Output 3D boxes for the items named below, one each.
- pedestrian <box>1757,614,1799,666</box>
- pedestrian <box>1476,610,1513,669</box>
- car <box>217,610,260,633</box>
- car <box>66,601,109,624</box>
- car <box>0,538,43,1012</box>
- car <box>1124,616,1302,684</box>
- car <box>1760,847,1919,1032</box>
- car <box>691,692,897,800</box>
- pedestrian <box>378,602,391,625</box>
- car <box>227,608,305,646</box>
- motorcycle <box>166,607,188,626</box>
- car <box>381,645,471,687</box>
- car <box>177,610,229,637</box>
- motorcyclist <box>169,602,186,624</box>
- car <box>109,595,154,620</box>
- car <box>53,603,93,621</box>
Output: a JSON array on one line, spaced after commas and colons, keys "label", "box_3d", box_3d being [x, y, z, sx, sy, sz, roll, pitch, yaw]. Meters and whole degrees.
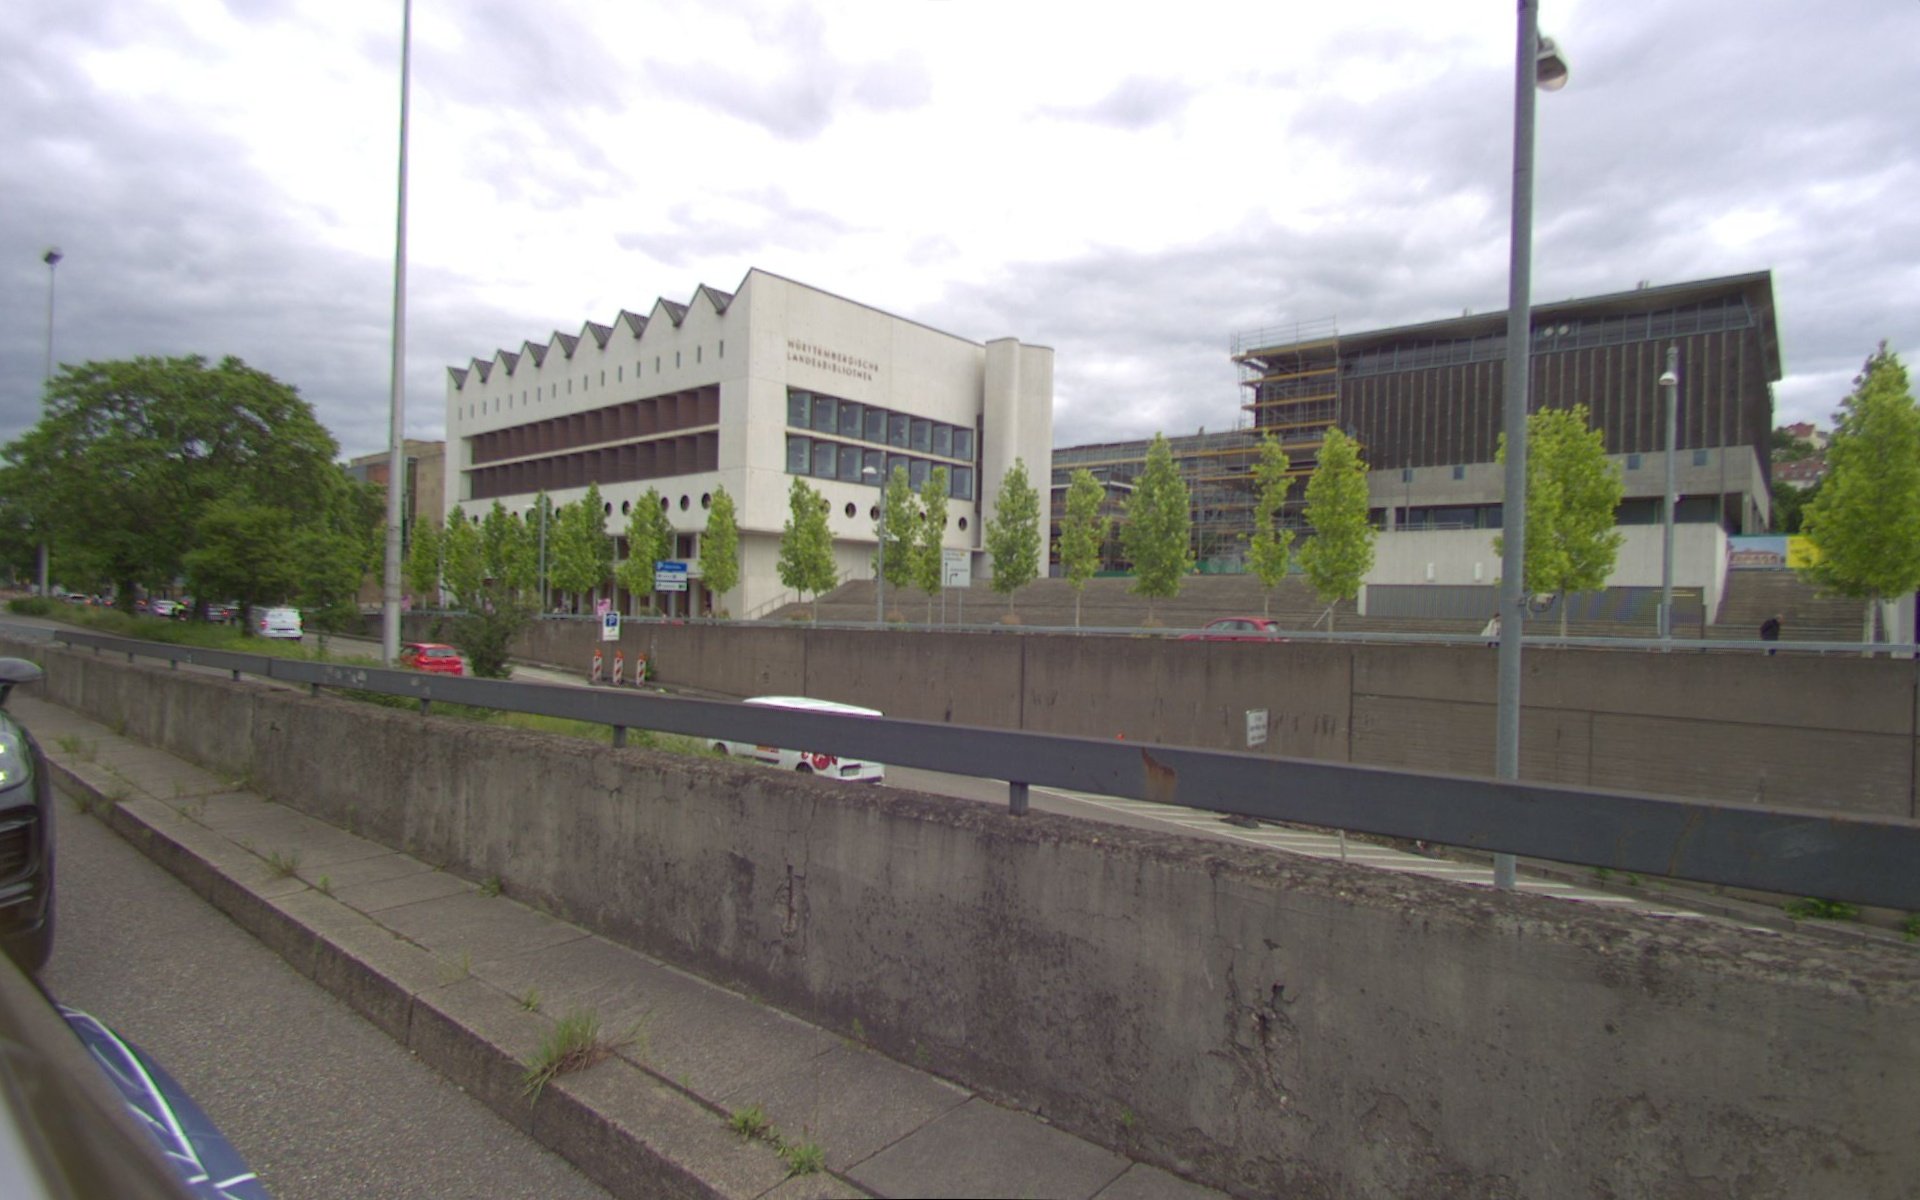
[{"label": "pedestrian", "box_3d": [26.420, 1.278, 32.694, 0.728, 1.655, 0.795, 1, -3, -30]}, {"label": "pedestrian", "box_3d": [18.733, 1.389, 35.481, 0.728, 2.029, 0.795, 0, -2, -17]}, {"label": "car", "box_3d": [-59.776, 1.779, 83.805, 3.998, 1.776, 1.973, 0, -3, 41]}, {"label": "car", "box_3d": [-71.537, 1.003, 82.960, 4.515, 1.687, 1.973, 0, -4, 41]}, {"label": "car", "box_3d": [-5.527, 0.586, 4.448, 4.733, 1.602, 1.879, 0, 0, 44]}, {"label": "car", "box_3d": [7.500, 1.420, 30.233, 4.729, 1.869, 2.154, -1, -1, 38]}, {"label": "car", "box_3d": [11.968, 4.144, 11.852, 3.999, 1.560, 1.855, 0, -1, 42]}, {"label": "car", "box_3d": [-4.180, 3.479, 25.023, 5.110, 2.029, 2.196, -1, -2, 39]}, {"label": "pedestrian", "box_3d": [-51.166, 1.220, 89.930, 1.016, 2.029, 0.712, 1, 1, 42]}, {"label": "car", "box_3d": [-37.483, 1.418, 54.601, 5.246, 1.651, 1.973, 2, -5, 40]}, {"label": "motorcycle", "box_3d": [-51.868, 1.077, 67.056, 2.050, 1.106, 0.678, 3, -2, 41]}, {"label": "car", "box_3d": [-21.608, 2.633, 40.885, 3.999, 1.497, 1.972, -1, -2, 42]}, {"label": "car", "box_3d": [-54.423, 1.692, 72.731, 4.386, 1.624, 1.852, 4, 0, 38]}, {"label": "motorcyclist", "box_3d": [-51.842, 0.849, 67.061, 0.718, 1.362, 0.662, 3, -3, 41]}, {"label": "car", "box_3d": [-59.774, 0.523, 73.008, 4.144, 1.500, 1.757, 3, 0, 40]}, {"label": "car", "box_3d": [-76.451, 1.049, 87.225, 3.998, 1.409, 1.973, 0, -4, 41]}]
